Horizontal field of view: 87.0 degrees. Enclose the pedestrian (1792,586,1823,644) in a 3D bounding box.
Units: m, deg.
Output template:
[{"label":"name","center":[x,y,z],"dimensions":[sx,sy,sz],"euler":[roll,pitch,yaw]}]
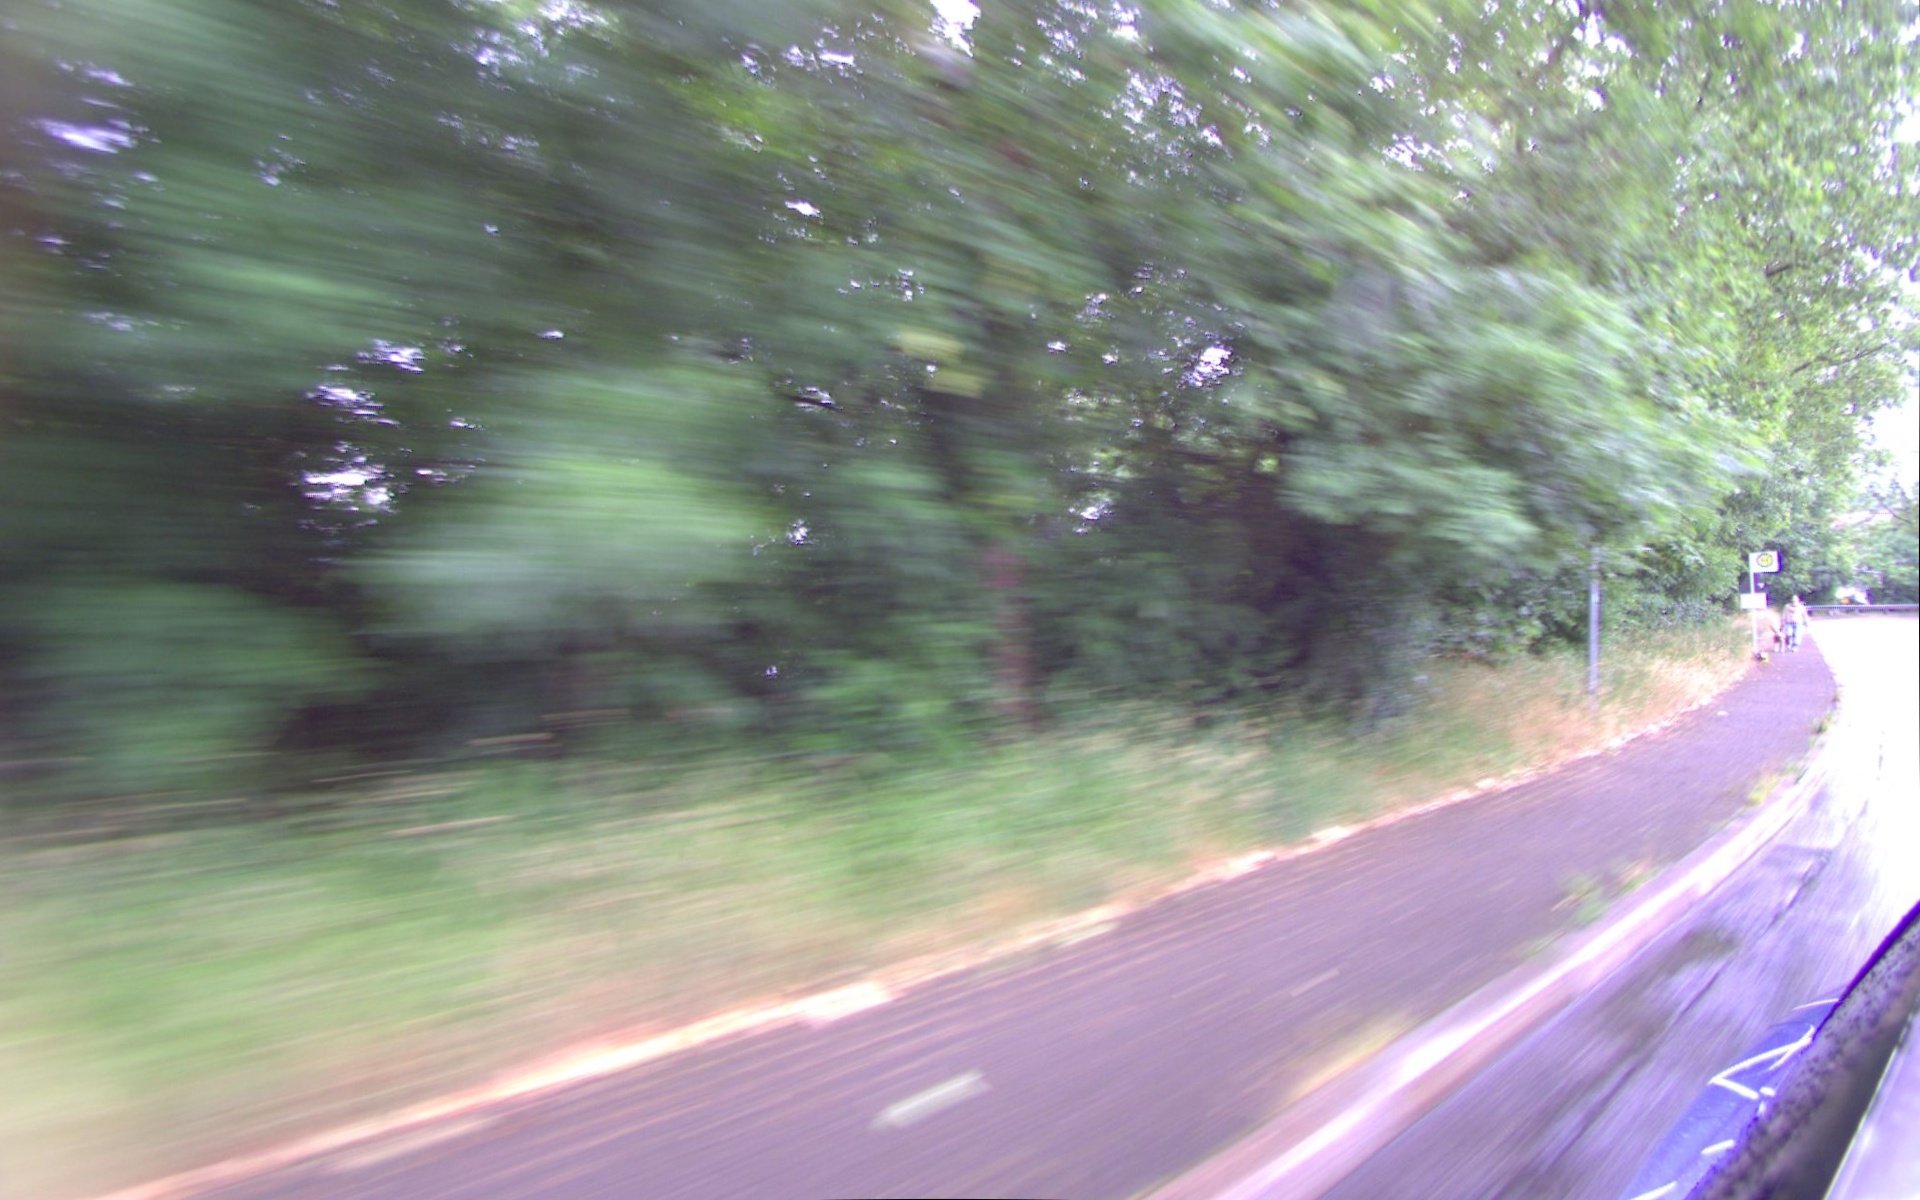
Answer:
[{"label":"pedestrian","center":[24.243,0.411,28.970],"dimensions":[0.641,1.631,0.660],"euler":[1,2,40]}]
